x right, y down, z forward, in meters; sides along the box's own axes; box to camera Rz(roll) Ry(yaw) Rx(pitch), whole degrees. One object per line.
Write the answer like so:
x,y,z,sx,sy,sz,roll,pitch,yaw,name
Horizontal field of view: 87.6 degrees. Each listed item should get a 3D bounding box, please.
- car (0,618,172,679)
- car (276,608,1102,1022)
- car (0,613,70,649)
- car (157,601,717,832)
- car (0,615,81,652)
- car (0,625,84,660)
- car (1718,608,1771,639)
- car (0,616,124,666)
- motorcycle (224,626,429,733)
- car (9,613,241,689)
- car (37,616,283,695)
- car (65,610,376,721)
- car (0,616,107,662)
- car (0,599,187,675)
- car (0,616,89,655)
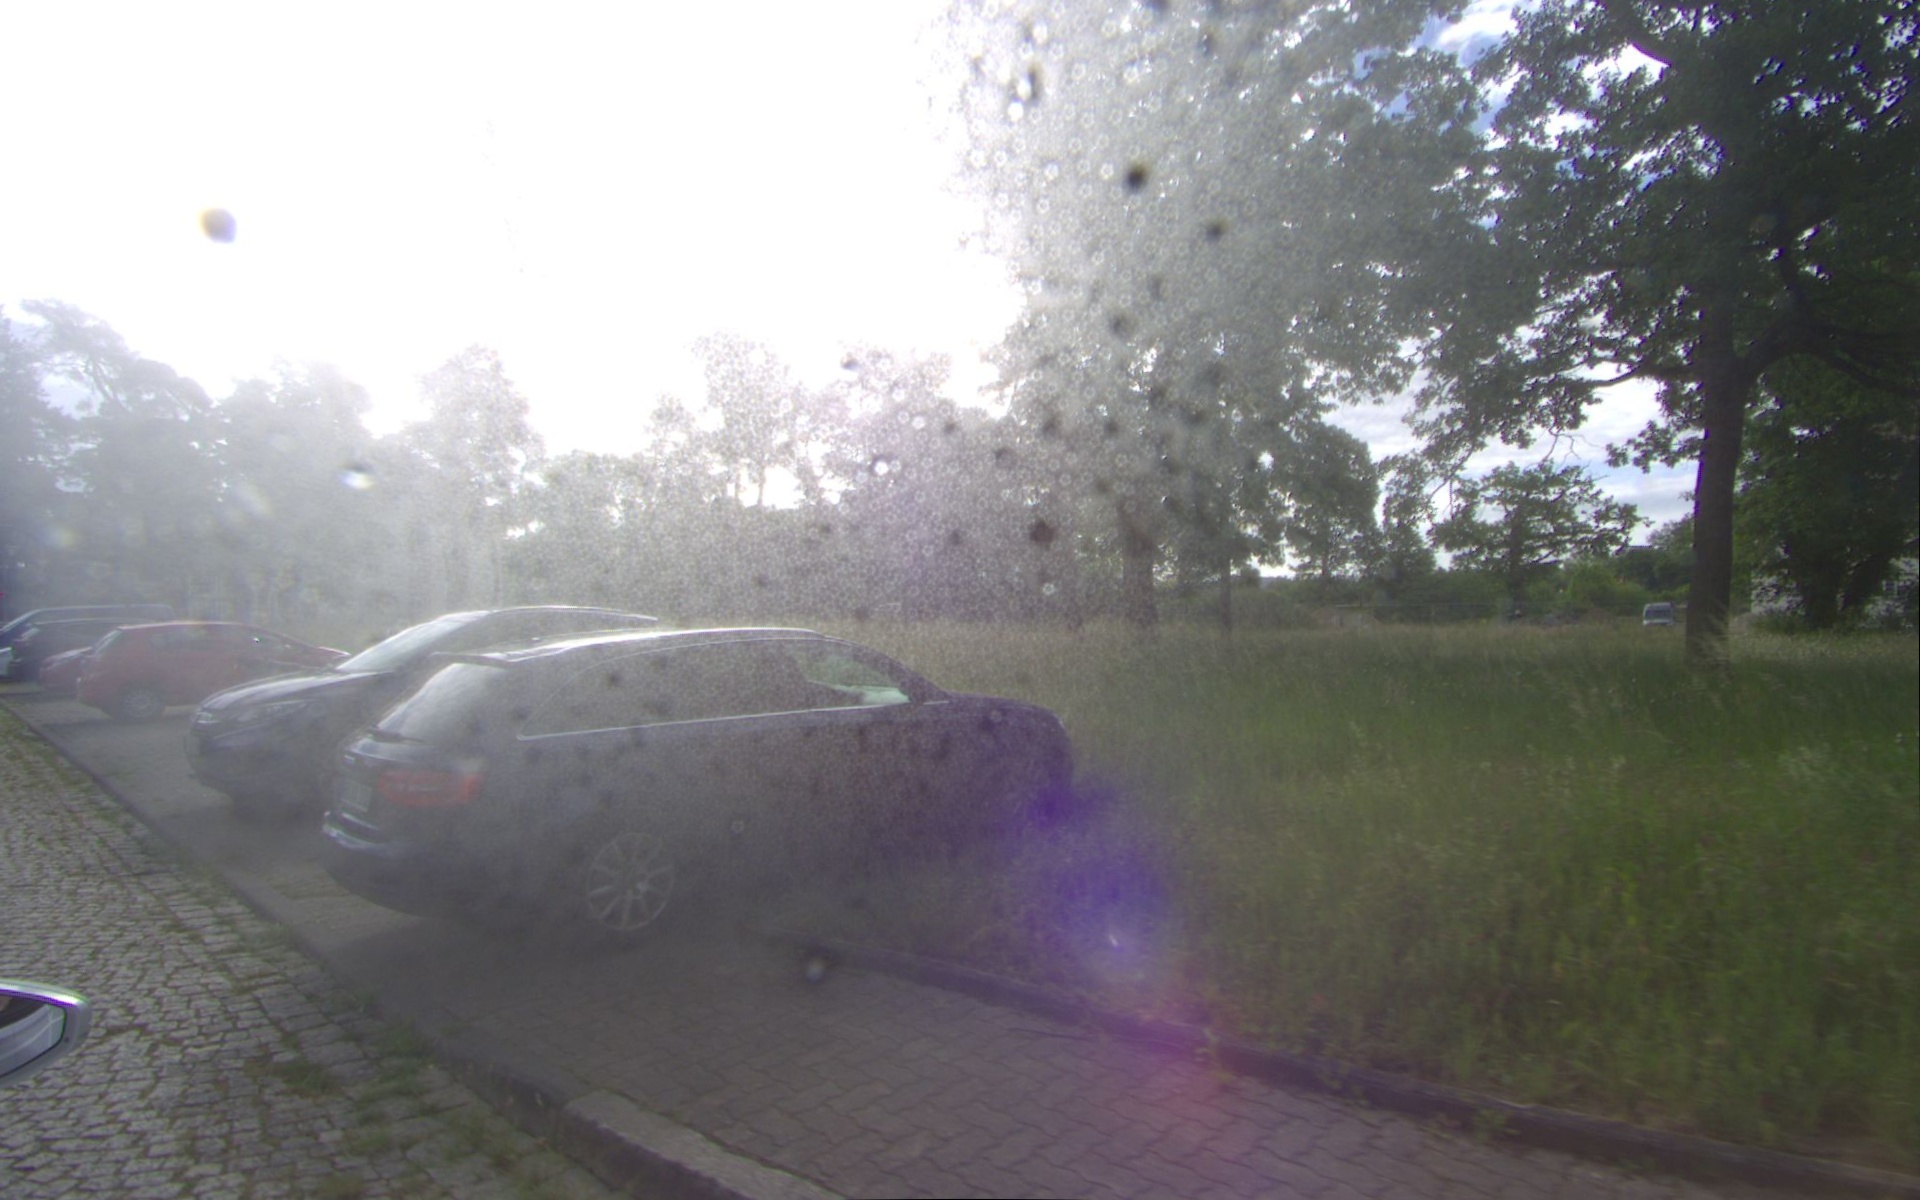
-24.122,1.275,27.455,1.635,1.443,3.704,-1,1,40,car
-1.269,0.840,6.053,4.474,1.484,1.877,-1,1,-44,car
-42.844,1.392,45.521,1.373,1.564,3.377,0,0,37,car
-4.605,0.838,9.330,1.874,1.594,4.239,0,1,42,car
-41.147,1.449,43.610,1.643,1.564,4.108,0,0,37,car
-36.037,1.615,38.507,1.643,1.284,3.281,0,-1,37,car
53.210,1.656,68.000,2.454,2.039,5.802,-1,-2,35,car
-29.716,1.311,32.870,1.645,1.524,3.277,0,0,41,car
-8.479,1.015,13.519,0.598,1.292,2.256,0,0,37,motorcycle
-19.235,1.116,23.199,1.742,1.601,3.931,0,-1,41,car
-17.238,1.115,21.716,1.719,1.538,3.965,0,-1,43,car
-11.942,0.966,16.354,1.718,1.525,3.819,0,0,41,car
-32.073,1.331,34.643,1.640,1.526,3.591,0,0,32,car
-25.769,1.026,29.293,1.718,2.066,4.760,0,0,40,car
-39.096,1.481,41.735,1.643,1.564,3.973,0,0,37,car
